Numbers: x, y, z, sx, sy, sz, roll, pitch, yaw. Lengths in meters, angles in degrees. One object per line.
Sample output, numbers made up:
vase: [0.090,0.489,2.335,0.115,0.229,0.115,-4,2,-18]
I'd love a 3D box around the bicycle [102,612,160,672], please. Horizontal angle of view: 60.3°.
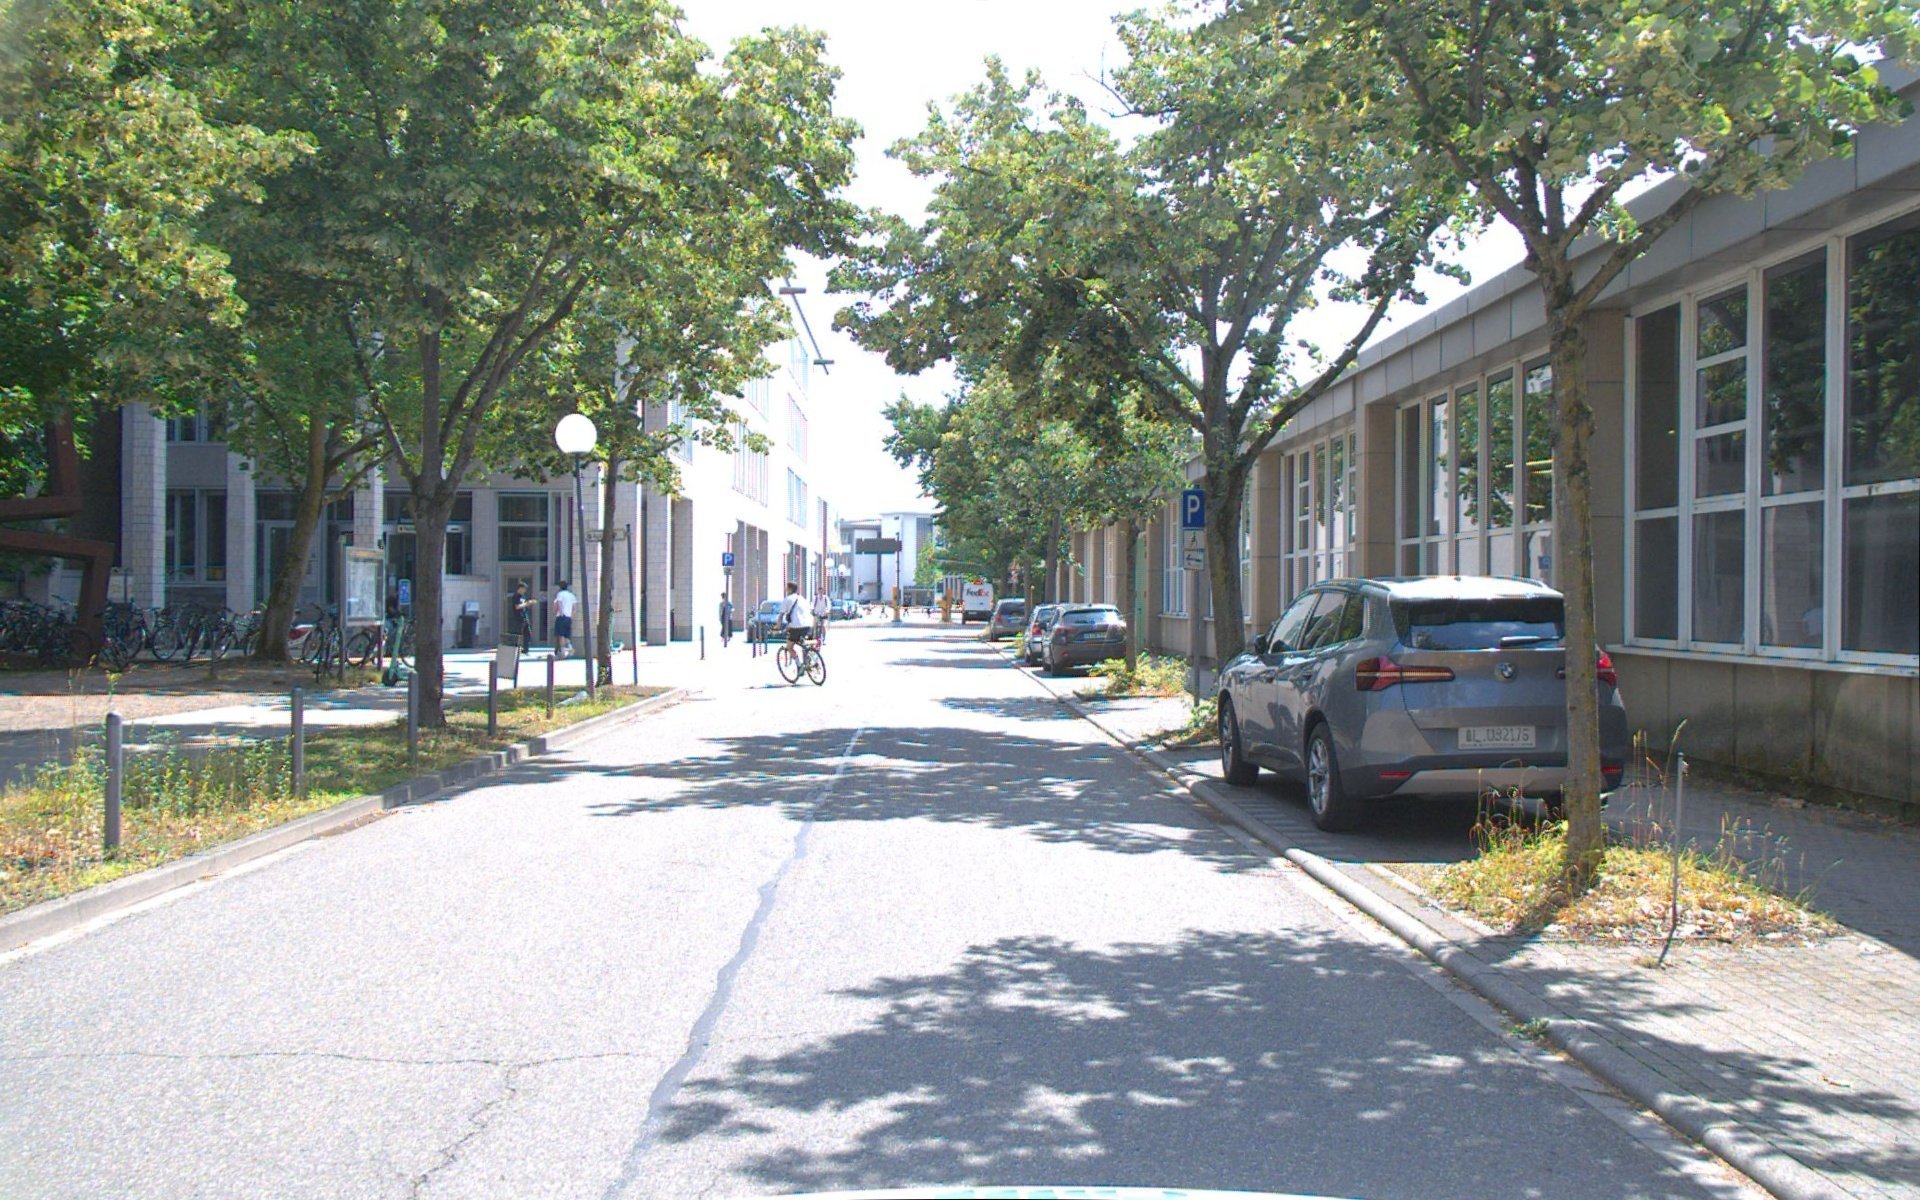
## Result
bicycle: [-13.949,0.694,27.861,0.467,0.982,1.651,1,0,-12]

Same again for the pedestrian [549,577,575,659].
pedestrian: [-9.632,0.427,40.014,0.408,1.976,0.656,1,0,-30]

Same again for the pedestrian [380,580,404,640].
pedestrian: [-13.724,0.243,39.992,0.457,1.407,0.443,-1,3,-11]

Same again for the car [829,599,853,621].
car: [-8.921,0.772,124.294,1.612,1.524,3.727,0,-2,-1]

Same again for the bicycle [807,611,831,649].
bicycle: [-4.361,0.919,51.281,0.671,1.149,1.887,0,0,-3]

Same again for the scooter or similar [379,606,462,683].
scooter or similar: [-8.662,0.707,26.601,0.333,1.196,1.324,1,0,33]

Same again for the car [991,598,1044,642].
car: [2.194,0.743,63.709,1.821,1.601,3.999,-1,0,-1]

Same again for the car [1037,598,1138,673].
car: [2.713,0.727,35.998,1.744,1.502,4.460,-1,0,-1]

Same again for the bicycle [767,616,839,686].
bicycle: [-2.965,0.933,31.020,0.868,1.220,2.738,1,0,-15]

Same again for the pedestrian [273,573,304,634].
pedestrian: [-18.665,0.104,45.979,0.628,1.690,0.685,1,0,-36]

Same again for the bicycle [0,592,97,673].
bicycle: [-15.113,0.524,26.749,1.996,1.276,0.580,-1,0,-34]

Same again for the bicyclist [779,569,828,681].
bicyclist: [-2.918,0.468,30.811,0.857,2.049,0.848,1,0,-8]

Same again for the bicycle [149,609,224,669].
bicycle: [-15.120,0.740,32.368,0.541,1.105,1.972,2,0,-1]

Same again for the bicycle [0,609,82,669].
bicycle: [-17.866,0.739,32.163,0.541,1.105,1.972,2,0,-1]

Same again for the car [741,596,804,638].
car: [-6.624,0.606,58.824,1.730,1.452,4.234,1,-1,0]

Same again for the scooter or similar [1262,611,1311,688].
scooter or similar: [5.587,0.829,28.350,0.500,1.271,1.485,-1,0,-1]

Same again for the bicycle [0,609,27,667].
bicycle: [-19.034,0.745,32.264,0.541,1.105,1.972,2,0,-1]

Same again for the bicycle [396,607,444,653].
bicycle: [-13.273,0.734,40.681,0.455,1.032,1.865,2,2,3]

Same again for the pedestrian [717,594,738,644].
pedestrian: [-8.151,0.653,57.902,0.638,1.731,0.887,1,0,-12]

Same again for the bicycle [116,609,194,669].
bicycle: [-15.715,0.740,32.326,0.541,1.105,1.972,2,0,-1]

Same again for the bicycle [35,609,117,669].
bicycle: [-17.179,0.739,32.193,0.541,1.105,1.972,2,0,-1]

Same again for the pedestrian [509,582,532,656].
pedestrian: [-10.812,0.460,40.693,0.436,1.806,0.446,1,0,-32]

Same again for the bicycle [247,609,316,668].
bicycle: [-13.448,0.752,32.815,0.541,1.105,1.972,2,0,-1]

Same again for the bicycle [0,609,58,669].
bicycle: [-18.436,0.745,32.305,0.541,1.105,1.972,2,0,-1]

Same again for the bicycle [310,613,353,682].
bicycle: [-9.920,0.736,26.136,0.375,1.043,1.809,1,0,-13]

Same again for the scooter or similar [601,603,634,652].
scooter or similar: [-8.838,0.702,42.719,0.445,1.245,1.549,0,0,2]

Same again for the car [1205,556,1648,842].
car: [3.179,0.635,12.332,1.786,1.693,4.581,-1,-1,-3]

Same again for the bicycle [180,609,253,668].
bicycle: [-14.567,0.742,32.448,0.541,1.105,1.972,2,0,-1]

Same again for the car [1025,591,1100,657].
car: [2.544,0.583,41.638,1.583,1.565,3.779,1,0,-1]

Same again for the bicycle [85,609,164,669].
bicycle: [-16.357,0.745,32.436,0.541,1.105,1.972,2,0,-1]

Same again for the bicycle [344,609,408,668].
bicycle: [-11.416,0.733,32.376,0.541,1.105,1.972,2,0,-1]

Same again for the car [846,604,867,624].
car: [-8.499,1.162,136.146,1.612,1.524,3.727,0,-2,-1]

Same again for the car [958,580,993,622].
car: [0.941,0.064,104.742,2.041,2.584,4.314,1,0,-1]

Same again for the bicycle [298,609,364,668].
bicycle: [-12.352,0.741,32.546,0.541,1.105,1.972,2,0,-1]

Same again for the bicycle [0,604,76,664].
bicycle: [-16.636,0.595,29.766,0.466,1.050,1.850,1,0,-1]

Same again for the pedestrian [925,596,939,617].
pedestrian: [-2.929,0.627,171.043,1.389,2.144,0.994,1,0,-5]

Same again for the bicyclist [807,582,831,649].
bicyclist: [-4.374,0.486,51.322,0.697,2.049,1.018,-1,0,-3]
